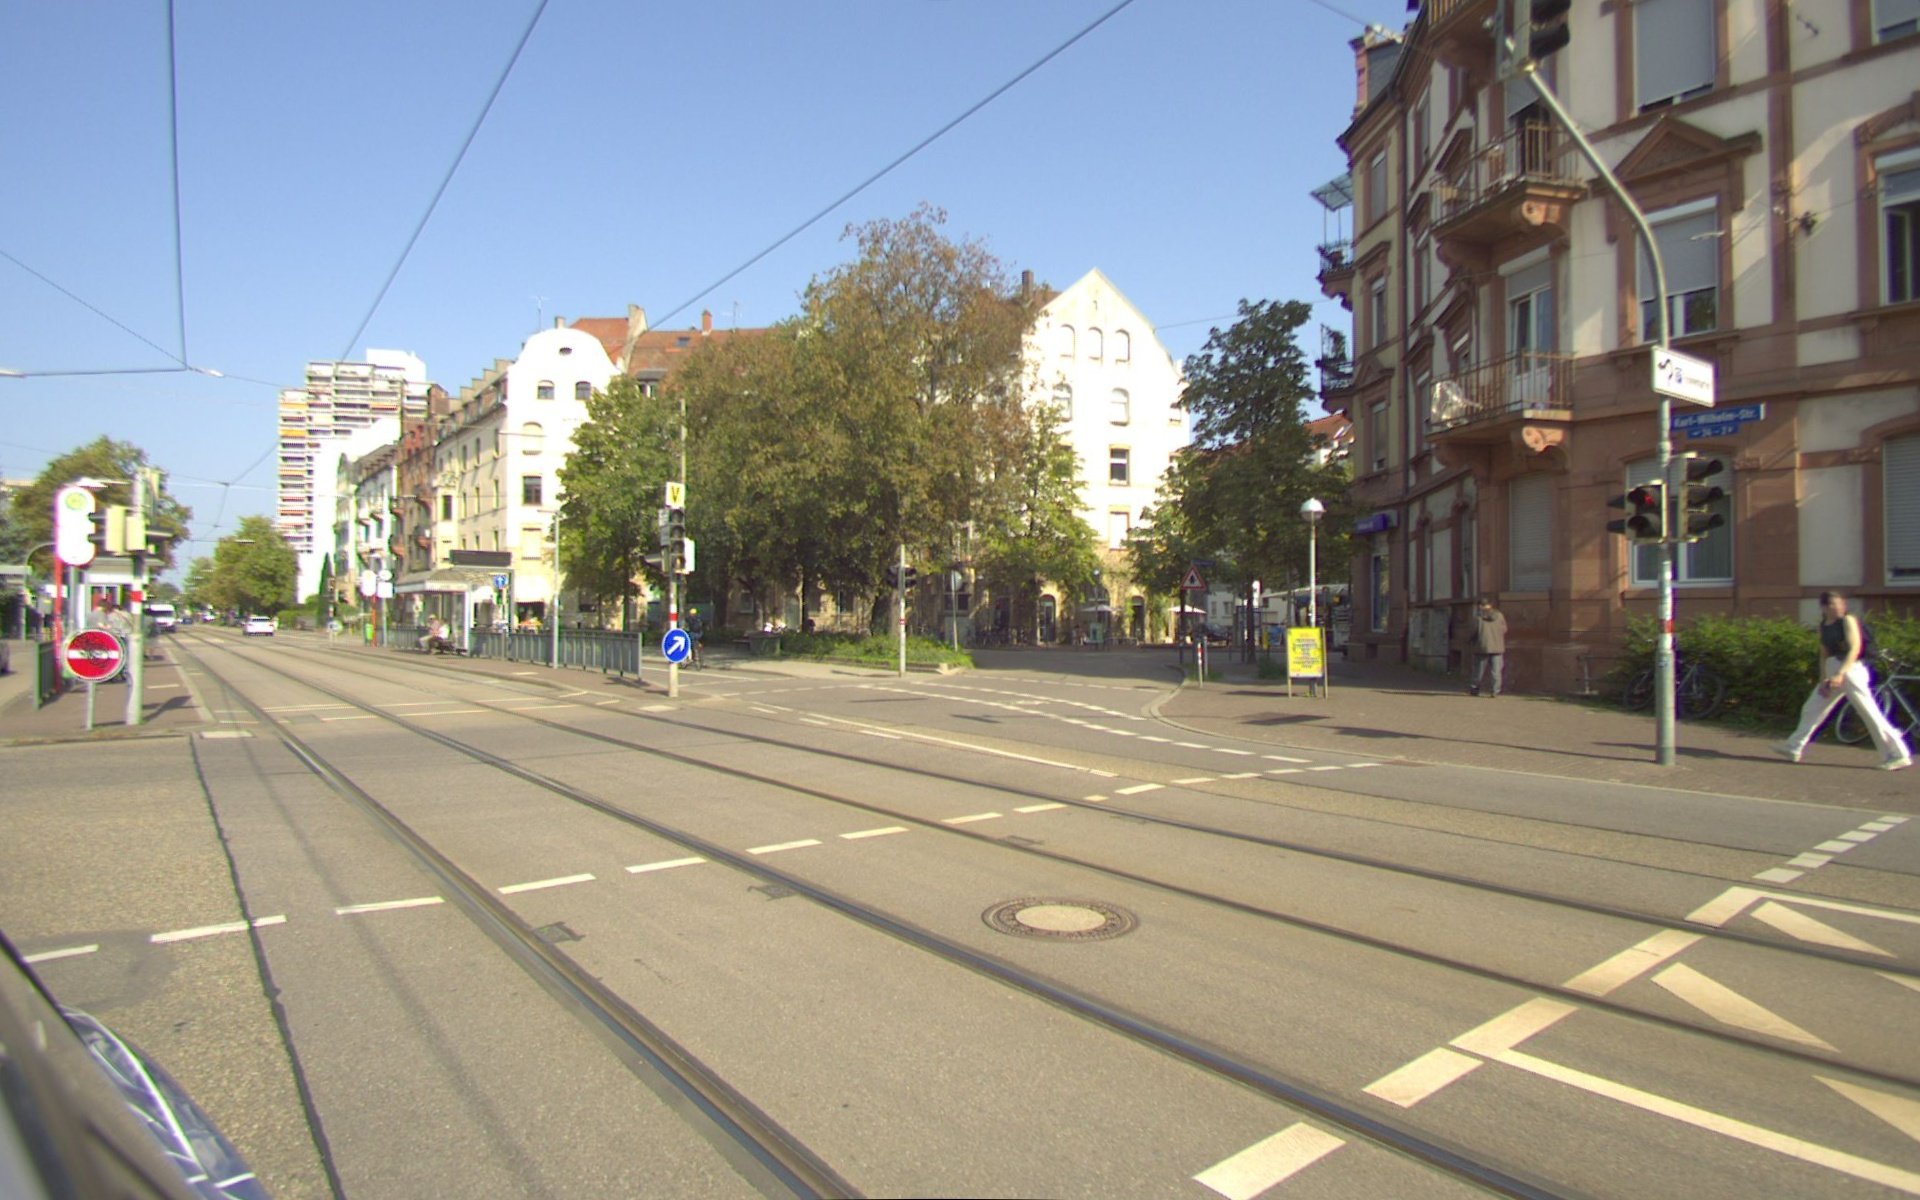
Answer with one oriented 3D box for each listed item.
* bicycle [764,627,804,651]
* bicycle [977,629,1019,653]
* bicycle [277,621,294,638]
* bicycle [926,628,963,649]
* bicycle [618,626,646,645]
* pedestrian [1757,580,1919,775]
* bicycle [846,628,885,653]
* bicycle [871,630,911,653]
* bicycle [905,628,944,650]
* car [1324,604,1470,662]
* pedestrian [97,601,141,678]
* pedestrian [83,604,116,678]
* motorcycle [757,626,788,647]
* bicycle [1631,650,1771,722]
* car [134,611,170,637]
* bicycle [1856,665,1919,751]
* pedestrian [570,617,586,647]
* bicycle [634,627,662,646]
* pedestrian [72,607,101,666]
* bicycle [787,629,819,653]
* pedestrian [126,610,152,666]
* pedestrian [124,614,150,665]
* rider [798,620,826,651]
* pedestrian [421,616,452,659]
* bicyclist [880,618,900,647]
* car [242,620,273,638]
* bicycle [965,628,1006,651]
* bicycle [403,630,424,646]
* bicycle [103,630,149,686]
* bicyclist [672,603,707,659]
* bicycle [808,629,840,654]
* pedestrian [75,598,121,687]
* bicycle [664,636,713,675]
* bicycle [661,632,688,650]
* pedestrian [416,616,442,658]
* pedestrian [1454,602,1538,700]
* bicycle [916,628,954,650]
[{"bbox_3d":[-10.407,2.297,59.938,0.867,1.381,2.272,-1,-2,40],"label":"bicycle"},{"bbox_3d":[1.871,2.024,50.190,2.057,1.112,0.658,1,-2,-31],"label":"bicycle"},{"bbox_3d":[-76.390,3.325,114.593,1.001,1.872,3.558,-1,0,-45],"label":"bicycle"},{"bbox_3d":[-0.837,2.061,54.602,0.646,1.112,2.336,1,-2,-41],"label":"bicycle"},{"bbox_3d":[-20.192,2.162,62.342,0.689,1.087,2.335,0,-1,8],"label":"bicycle"},{"bbox_3d":[8.780,0.721,9.996,0.893,1.779,1.188,1,-2,-36],"label":"pedestrian"},{"bbox_3d":[-5.318,2.285,57.117,0.866,1.381,2.273,-1,-2,39],"label":"bicycle"},{"bbox_3d":[-3.369,1.994,49.136,2.070,1.112,0.647,-1,-2,39],"label":"bicycle"},{"bbox_3d":[-1.904,2.058,53.594,0.762,1.112,2.336,1,-2,-41],"label":"bicycle"},{"bbox_3d":[15.834,1.176,36.732,4.514,2.032,2.086,0,-1,-16],"label":"car"},{"bbox_3d":[-19.715,0.921,23.735,0.758,1.774,0.681,1,-2,-40],"label":"pedestrian"},{"bbox_3d":[-21.579,1.022,25.379,0.596,1.820,0.731,1,-2,-40],"label":"pedestrian"},{"bbox_3d":[-11.202,2.170,60.424,0.676,1.186,1.861,-1,-1,36],"label":"motorcycle"},{"bbox_3d":[10.035,1.139,13.798,0.520,0.866,1.828,0,-1,-1],"label":"bicycle"},{"bbox_3d":[-72.307,2.172,90.599,2.054,2.294,4.840,1,-2,-34],"label":"car"},{"bbox_3d":[10.266,1.137,10.358,0.520,0.866,1.828,0,-1,-1],"label":"bicycle"},{"bbox_3d":[-24.342,2.058,64.456,0.724,1.882,0.674,2,-2,-43],"label":"pedestrian"},{"bbox_3d":[-19.059,2.214,61.912,0.689,1.087,2.335,0,0,8],"label":"bicycle"},{"bbox_3d":[-28.092,1.176,32.556,0.628,1.862,0.635,1,-2,-37],"label":"pedestrian"},{"bbox_3d":[-9.196,2.365,59.357,0.862,1.381,2.286,-1,-2,22],"label":"bicycle"},{"bbox_3d":[-25.827,1.204,31.841,0.581,1.734,0.608,1,-2,-37],"label":"pedestrian"},{"bbox_3d":[-25.450,1.218,31.312,0.581,1.556,0.608,1,-2,-37],"label":"pedestrian"},{"bbox_3d":[-7.512,1.780,51.298,0.981,1.523,1.117,0,-1,-35],"label":"rider"},{"bbox_3d":[-17.999,1.279,34.794,0.782,1.467,0.720,1,-2,-38],"label":"pedestrian"},{"bbox_3d":[-3.387,1.578,49.162,0.758,1.370,0.647,-1,-2,39],"label":"bicyclist"},{"bbox_3d":[-57.340,2.369,82.597,1.707,1.445,3.928,1,-2,-40],"label":"car"},{"bbox_3d":[1.279,1.976,51.187,2.057,1.112,0.658,1,-2,-31],"label":"bicycle"},{"bbox_3d":[-37.553,2.620,69.555,1.894,1.112,0.538,-1,-2,38],"label":"bicycle"},{"bbox_3d":[-17.409,1.195,21.145,0.466,1.112,1.742,1,-2,-31],"label":"bicycle"},{"bbox_3d":[-8.035,0.927,30.019,0.664,1.626,1.046,1,-2,-37],"label":"bicyclist"},{"bbox_3d":[-7.852,2.374,58.469,0.862,1.381,2.286,-1,-2,22],"label":"bicycle"},{"bbox_3d":[-17.732,0.869,20.827,0.681,1.779,0.798,1,-2,-40],"label":"pedestrian"},{"bbox_3d":[-8.068,1.625,30.042,0.675,1.112,2.074,1,-2,-37],"label":"bicycle"},{"bbox_3d":[-17.492,2.484,62.059,0.689,1.087,2.335,0,-2,8],"label":"bicycle"},{"bbox_3d":[-18.696,1.295,35.624,0.668,1.467,0.720,1,-2,-38],"label":"pedestrian"},{"bbox_3d":[8.955,0.843,16.958,0.829,1.583,0.947,0,-1,-5],"label":"pedestrian"},{"bbox_3d":[-1.349,2.062,54.103,0.646,1.112,2.336,1,-2,-41],"label":"bicycle"}]
